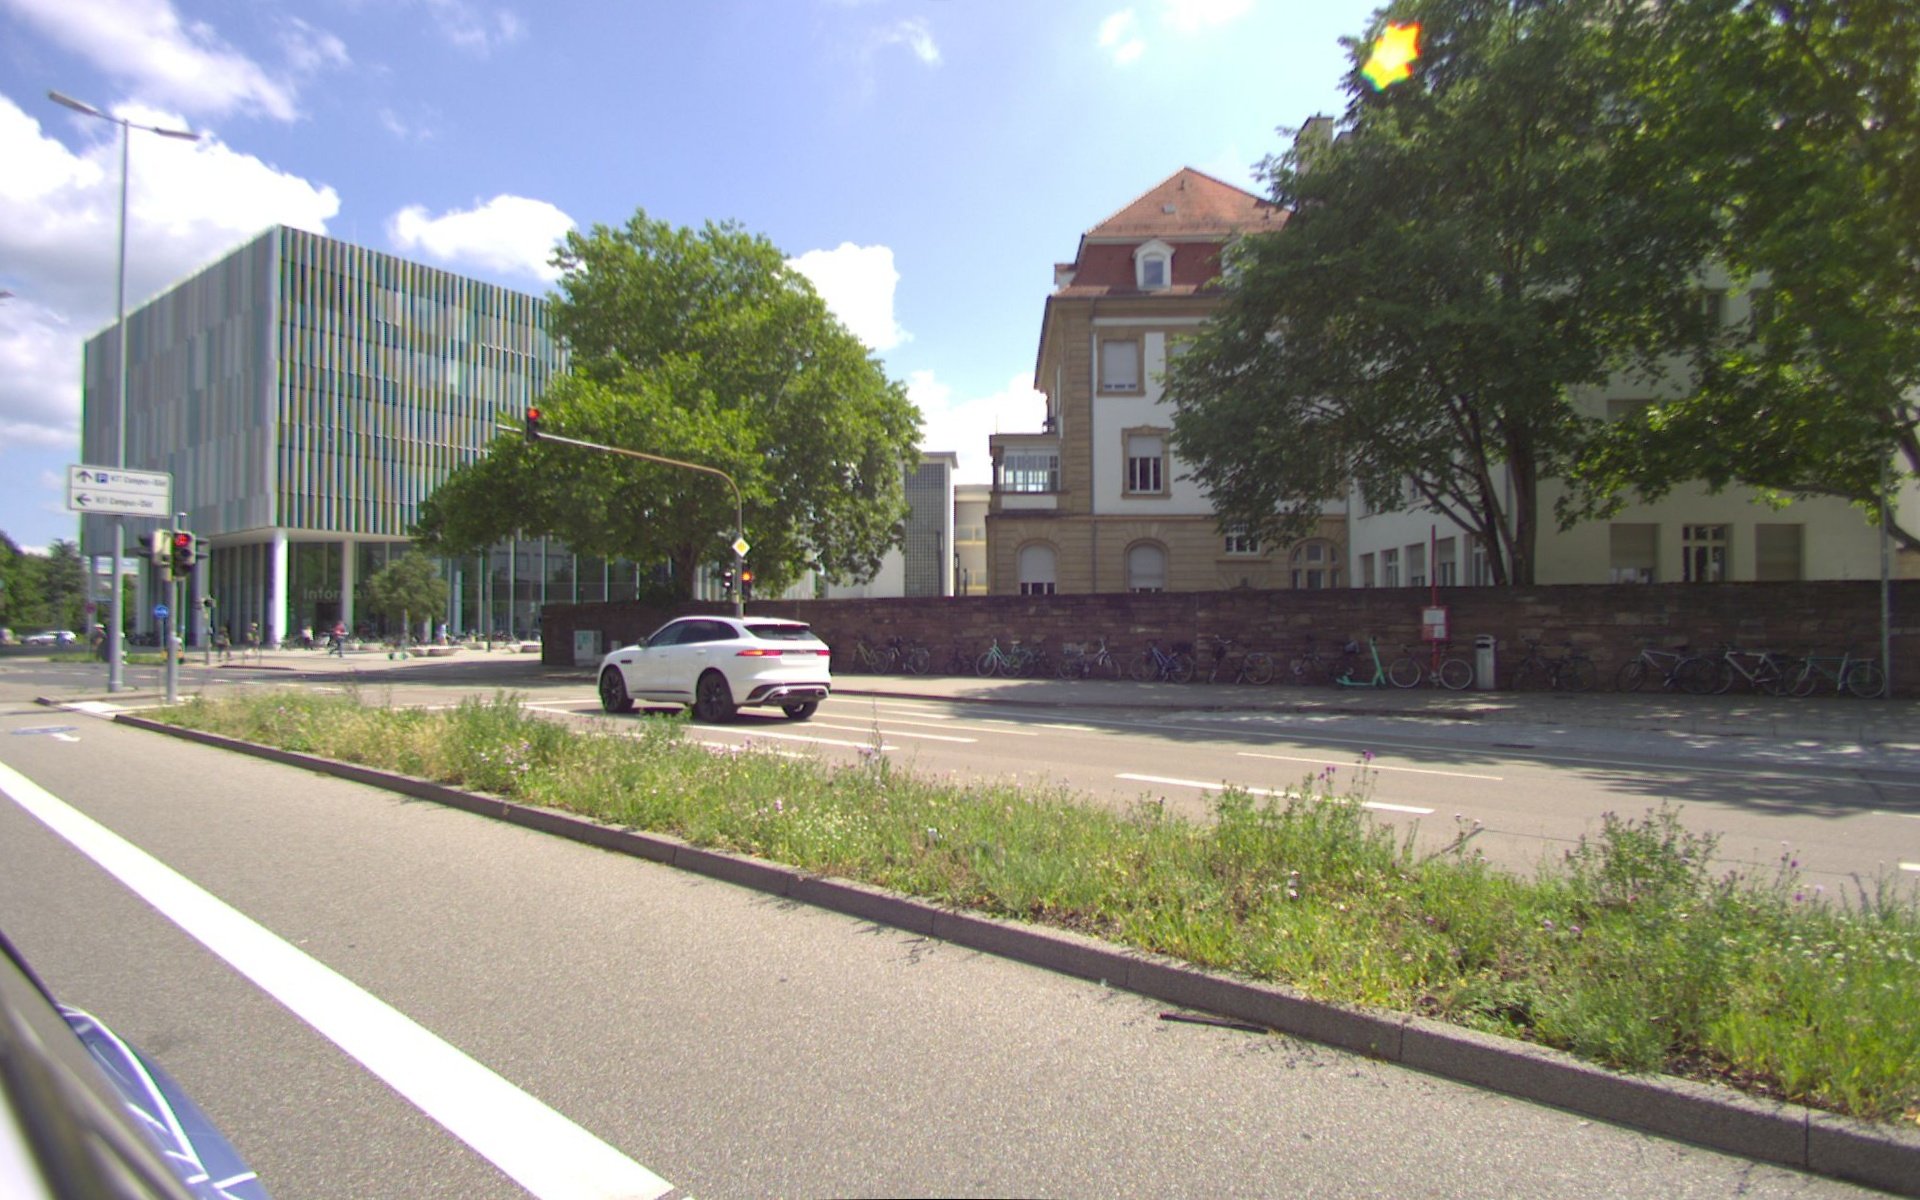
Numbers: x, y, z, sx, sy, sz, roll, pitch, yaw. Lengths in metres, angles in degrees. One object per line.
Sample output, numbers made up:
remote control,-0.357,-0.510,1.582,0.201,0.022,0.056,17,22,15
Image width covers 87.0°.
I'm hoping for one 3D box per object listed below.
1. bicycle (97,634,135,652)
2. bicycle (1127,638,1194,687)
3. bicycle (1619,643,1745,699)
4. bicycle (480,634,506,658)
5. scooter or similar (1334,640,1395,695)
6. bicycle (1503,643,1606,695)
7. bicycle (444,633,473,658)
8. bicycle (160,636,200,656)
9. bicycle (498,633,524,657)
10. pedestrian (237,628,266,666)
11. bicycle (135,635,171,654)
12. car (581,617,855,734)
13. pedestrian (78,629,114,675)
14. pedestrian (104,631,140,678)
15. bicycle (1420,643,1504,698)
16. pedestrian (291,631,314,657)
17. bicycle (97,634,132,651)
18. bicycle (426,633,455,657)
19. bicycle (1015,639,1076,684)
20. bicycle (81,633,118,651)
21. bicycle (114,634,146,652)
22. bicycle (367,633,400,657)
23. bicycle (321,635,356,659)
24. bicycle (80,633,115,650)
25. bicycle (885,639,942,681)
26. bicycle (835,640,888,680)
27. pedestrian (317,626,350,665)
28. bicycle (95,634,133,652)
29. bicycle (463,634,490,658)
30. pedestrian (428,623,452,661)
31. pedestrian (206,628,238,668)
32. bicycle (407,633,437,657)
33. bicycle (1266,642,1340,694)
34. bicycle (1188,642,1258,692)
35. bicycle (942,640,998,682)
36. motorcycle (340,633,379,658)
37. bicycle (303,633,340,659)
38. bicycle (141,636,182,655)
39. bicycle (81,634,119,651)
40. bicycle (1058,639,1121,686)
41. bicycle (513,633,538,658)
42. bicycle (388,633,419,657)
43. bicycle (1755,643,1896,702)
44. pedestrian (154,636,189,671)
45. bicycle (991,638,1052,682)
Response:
bicycle,-73.277,3.721,87.900,0.620,1.506,2.480,-2,-2,39
bicycle,4.969,1.539,25.095,1.587,1.161,0.399,-1,-2,28
bicycle,14.166,1.371,19.921,1.940,1.055,0.540,-1,-2,28
bicycle,-31.193,3.032,67.628,0.983,1.564,3.424,0,-2,-14
scooter or similar,8.819,1.464,22.094,1.183,1.161,0.430,-1,-2,19
bicycle,12.299,1.415,20.973,1.794,1.016,0.477,-1,-2,31
bicycle,-33.409,3.018,67.483,0.983,1.564,3.424,0,-2,-14
bicycle,-61.245,3.585,79.472,2.474,1.506,0.731,1,-2,-41
bicycle,-30.097,3.024,67.880,0.983,1.564,3.424,0,-2,-14
pedestrian,-36.674,2.409,52.372,0.956,1.940,0.881,0,-2,-13
bicycle,-65.988,3.639,82.781,0.620,1.506,2.173,-2,-2,39
car,-4.135,1.166,16.855,4.772,1.680,2.049,-2,-2,41
pedestrian,-36.768,2.202,43.066,1.091,1.940,0.974,1,-2,-38
pedestrian,-35.345,2.263,42.711,1.091,1.940,0.974,1,-2,-36
bicycle,10.796,1.504,21.814,1.586,1.151,0.429,-1,-2,28
pedestrian,-43.761,2.896,67.359,0.997,1.720,1.214,0,-2,-17
bicycle,-74.777,3.750,89.516,0.620,1.506,2.301,-2,-2,39
bicycle,-34.741,3.018,67.711,0.983,1.564,3.424,0,-2,-14
bicycle,2.236,1.600,26.467,1.575,1.161,0.402,-1,-2,7
bicycle,-77.611,3.777,91.290,0.620,1.506,2.480,-2,-2,39
bicycle,-71.036,3.702,86.604,0.620,1.506,2.045,-2,-2,39
bicycle,-38.479,2.993,67.574,1.034,1.564,3.424,0,-2,-14
bicycle,-41.245,3.108,67.167,0.918,1.505,2.691,0,-1,-6
bicycle,-78.549,3.794,92.175,0.656,1.506,2.274,-2,-2,39
bicycle,-1.339,1.715,29.024,1.588,1.161,0.616,-2,-2,31
bicycle,-2.945,1.770,30.128,1.588,1.161,0.495,-2,-2,31
pedestrian,-31.569,2.266,51.036,0.969,1.940,1.097,-1,-2,33
bicycle,-74.083,3.735,88.673,0.620,1.506,2.480,-2,-2,39
bicycle,-32.304,3.027,67.643,0.983,1.564,3.424,0,-2,-14
pedestrian,-26.931,2.176,52.456,1.090,1.940,0.975,0,-2,-26
pedestrian,-36.730,2.393,50.388,0.958,1.940,0.879,0,-2,-2
bicycle,-35.964,3.008,67.657,0.983,1.564,3.424,0,-2,-14
bicycle,7.904,1.556,23.371,1.581,1.161,0.531,-1,-2,18
bicycle,6.262,1.578,24.098,1.581,1.161,0.531,-1,-2,18
bicycle,0.273,1.683,28.124,1.590,1.161,0.409,-2,-2,34
motorcycle,-39.914,3.009,67.317,0.956,1.652,3.302,0,-2,-7
bicycle,-42.284,3.027,67.040,0.797,1.656,3.421,0,-2,-10
bicycle,-63.683,3.602,80.711,0.620,1.506,2.480,-2,-2,39
bicycle,-77.136,3.768,90.763,0.620,1.506,2.480,-2,-2,39
bicycle,3.293,1.590,25.814,1.575,1.161,0.402,-1,-2,7
bicycle,-28.740,2.998,66.925,0.983,1.564,3.424,0,-2,-14
bicycle,-37.124,3.001,67.612,0.983,1.564,3.424,0,-2,-14
bicycle,16.043,1.331,18.822,1.886,1.055,0.540,-1,-2,28
pedestrian,-37.646,2.562,48.337,0.960,1.641,0.877,-1,-2,7
bicycle,1.653,1.614,27.179,1.580,1.161,0.400,-1,-2,17
